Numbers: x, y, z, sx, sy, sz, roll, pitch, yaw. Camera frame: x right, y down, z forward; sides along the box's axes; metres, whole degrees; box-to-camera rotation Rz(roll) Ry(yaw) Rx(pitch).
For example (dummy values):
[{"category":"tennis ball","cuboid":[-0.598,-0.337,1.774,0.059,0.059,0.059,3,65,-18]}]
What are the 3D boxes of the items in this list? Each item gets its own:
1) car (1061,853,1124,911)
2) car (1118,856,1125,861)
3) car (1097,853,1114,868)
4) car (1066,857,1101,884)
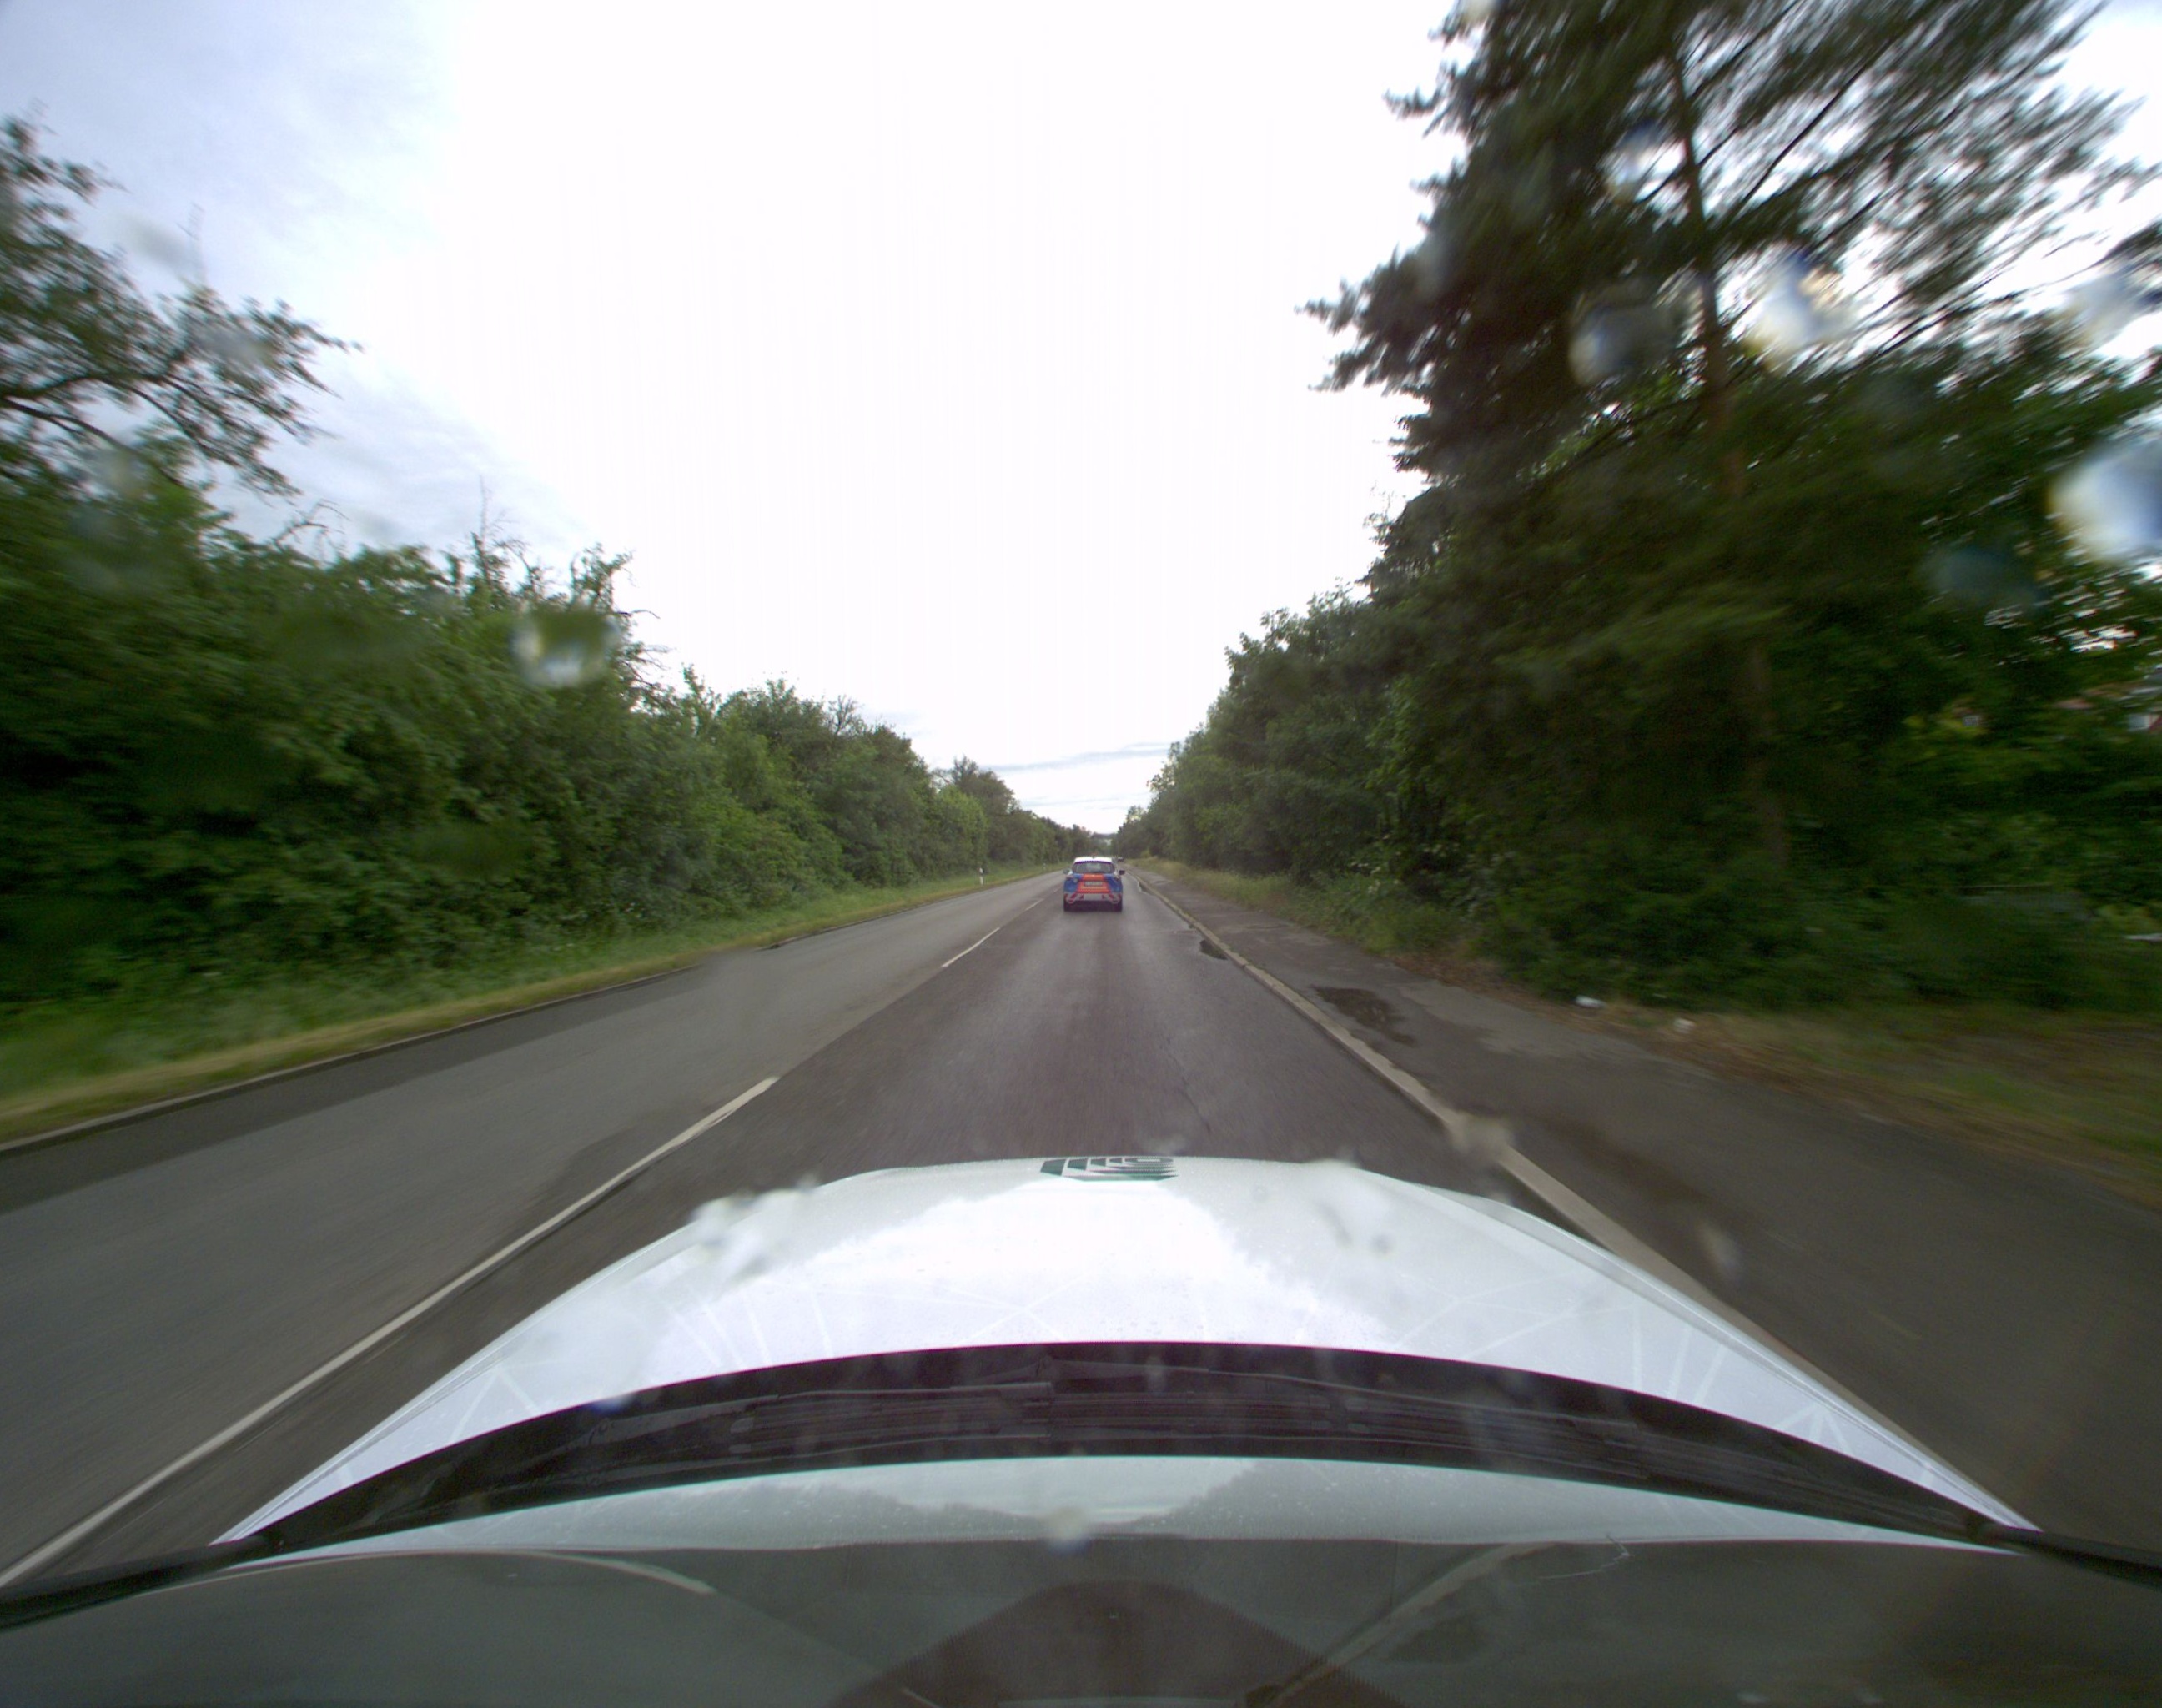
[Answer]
[{"category":"car","cuboid":[0.386,0.786,24.727,1.745,1.555,3.794,-1,0,2]},{"category":"car","cuboid":[12.337,1.318,247.984,1.985,1.376,4.002,-2,-1,2]},{"category":"car","cuboid":[3.160,0.842,103.969,1.934,1.723,4.065,-3,0,2]},{"category":"car","cuboid":[0.179,0.817,41.994,1.592,1.287,3.478,-2,-1,3]}]
